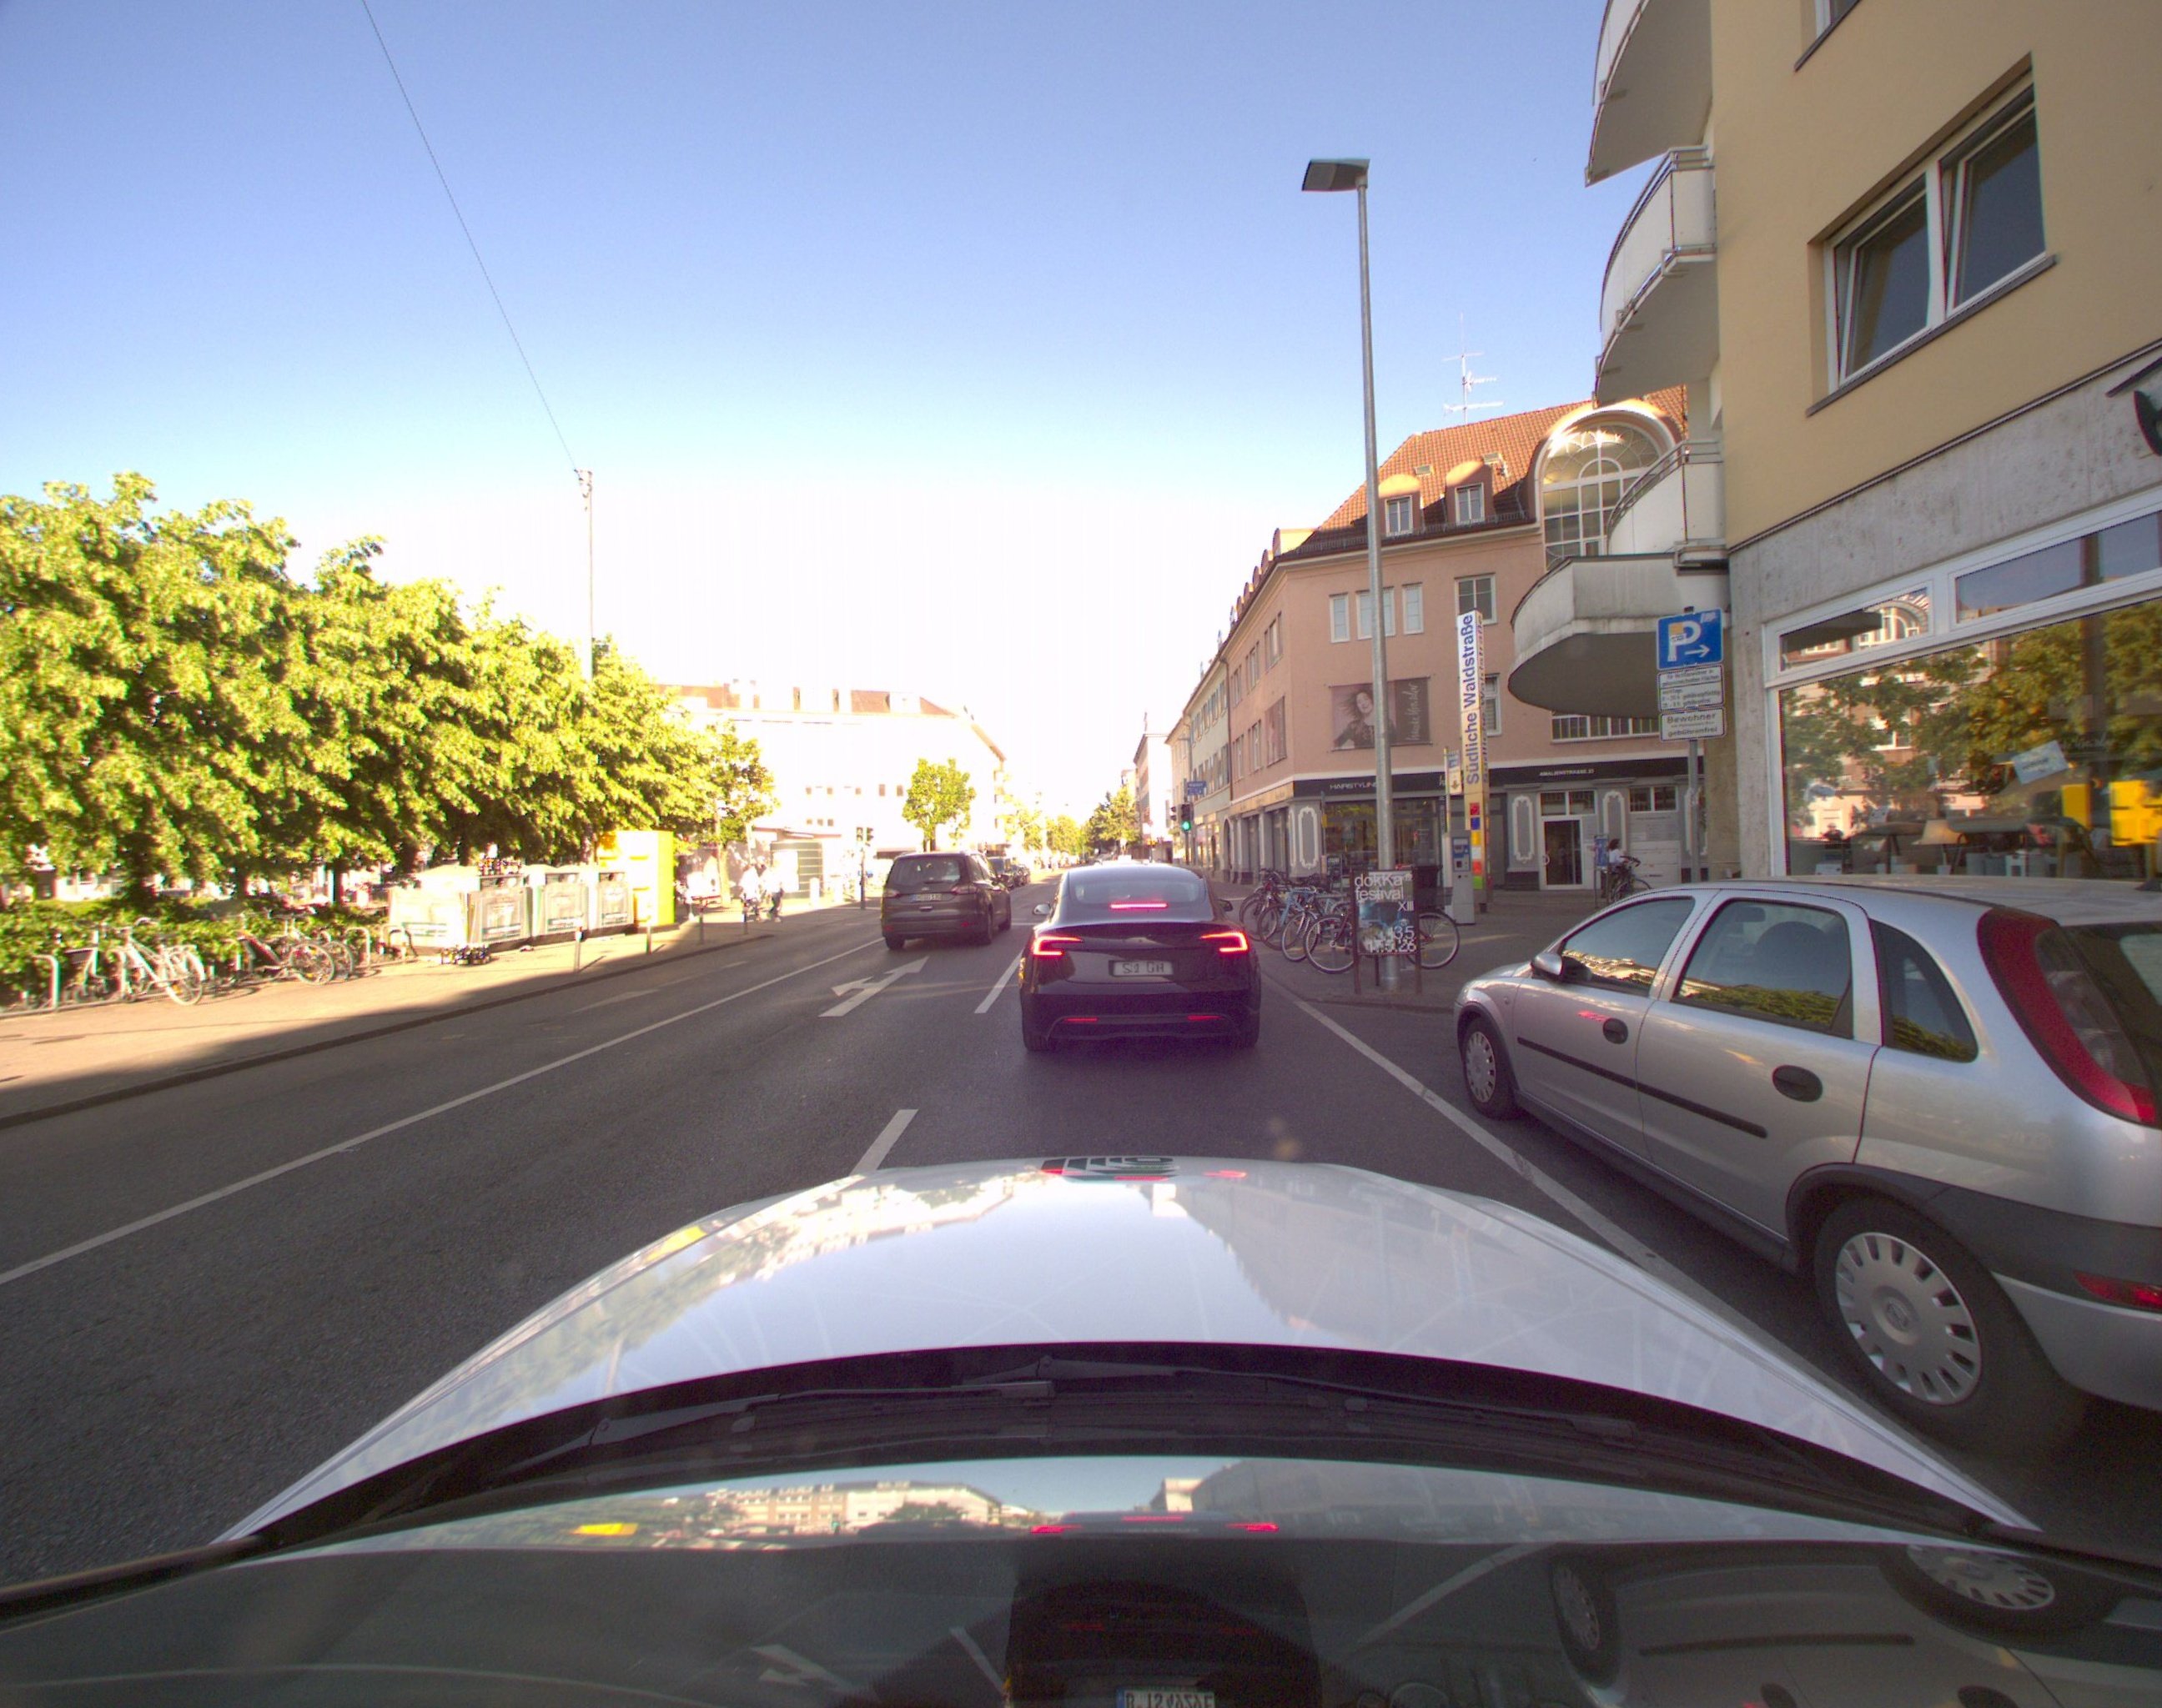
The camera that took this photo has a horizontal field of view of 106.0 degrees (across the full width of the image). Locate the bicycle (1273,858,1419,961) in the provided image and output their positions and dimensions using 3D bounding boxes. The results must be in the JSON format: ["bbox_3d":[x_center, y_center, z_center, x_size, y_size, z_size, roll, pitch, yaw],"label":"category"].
[{"bbox_3d":[3.537,0.730,11.010,1.713,1.268,0.792,-3,-1,7],"label":"bicycle"}]

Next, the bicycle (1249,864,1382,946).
[{"bbox_3d":[3.518,0.759,12.363,1.788,1.124,0.783,-3,-1,7],"label":"bicycle"}]

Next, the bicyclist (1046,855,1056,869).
[{"bbox_3d":[-3.506,0.975,95.742,1.123,1.628,0.965,-1,0,-1],"label":"bicyclist"}]

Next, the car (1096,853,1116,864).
[{"bbox_3d":[5.122,0.937,167.531,3.974,2.013,2.000,-1,0,0],"label":"car"}]

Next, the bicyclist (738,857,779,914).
[{"bbox_3d":[-10.673,1.018,26.956,0.941,1.838,0.793,-1,0,25],"label":"bicyclist"}]

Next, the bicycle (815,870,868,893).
[{"bbox_3d":[-12.585,1.455,42.878,2.497,1.156,0.843,-1,0,0],"label":"bicycle"}]

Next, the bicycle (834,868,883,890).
[{"bbox_3d":[-12.379,1.384,45.407,2.453,1.156,0.843,-1,0,0],"label":"bicycle"}]

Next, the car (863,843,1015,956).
[{"bbox_3d":[-2.519,0.749,15.726,1.987,1.772,4.728,-2,0,1],"label":"car"}]

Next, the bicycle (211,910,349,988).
[{"bbox_3d":[-11.323,1.334,11.527,1.561,1.023,0.430,-1,0,3],"label":"bicycle"}]

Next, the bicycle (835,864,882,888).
[{"bbox_3d":[-12.909,1.265,47.354,2.472,1.324,0.921,-1,0,-4],"label":"bicycle"}]

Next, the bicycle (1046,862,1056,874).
[{"bbox_3d":[-3.480,1.590,95.645,1.108,1.344,3.998,-1,0,-1],"label":"bicycle"}]

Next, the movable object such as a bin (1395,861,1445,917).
[{"bbox_3d":[6.739,0.680,16.200,0.749,1.092,0.628,0,-1,3],"label":"movable object such as a bin"}]

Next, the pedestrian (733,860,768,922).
[{"bbox_3d":[-9.357,1.035,23.066,0.541,1.728,0.679,-2,-1,34],"label":"pedestrian"}]

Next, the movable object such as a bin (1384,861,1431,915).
[{"bbox_3d":[6.748,0.685,16.838,0.730,1.092,0.628,0,-1,3],"label":"movable object such as a bin"}]

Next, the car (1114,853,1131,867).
[{"bbox_3d":[5.070,0.753,100.808,1.986,1.629,4.002,-1,0,2],"label":"car"}]

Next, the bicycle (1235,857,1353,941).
[{"bbox_3d":[3.503,0.735,13.543,1.738,1.267,0.782,-3,-1,4],"label":"bicycle"}]

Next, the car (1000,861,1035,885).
[{"bbox_3d":[-4.396,1.284,57.135,1.988,1.436,4.672,-5,0,-1],"label":"car"}]

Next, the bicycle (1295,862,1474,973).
[{"bbox_3d":[3.634,0.756,9.875,1.876,1.193,0.693,-3,0,7],"label":"bicycle"}]

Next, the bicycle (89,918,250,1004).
[{"bbox_3d":[-11.408,1.328,10.206,1.590,1.018,0.430,-1,0,3],"label":"bicycle"}]

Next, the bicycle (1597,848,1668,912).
[{"bbox_3d":[11.061,0.490,16.405,0.653,1.199,2.223,-2,0,21],"label":"bicycle"}]

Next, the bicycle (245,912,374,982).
[{"bbox_3d":[-11.386,1.369,12.033,1.517,0.958,0.431,-1,1,3],"label":"bicycle"}]

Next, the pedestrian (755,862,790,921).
[{"bbox_3d":[-8.974,1.086,23.669,0.676,1.662,0.624,-2,-1,28],"label":"pedestrian"}]

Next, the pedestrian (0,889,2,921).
[{"bbox_3d":[-68.076,3.181,50.442,1.269,2.014,1.284,-1,-1,28],"label":"pedestrian"}]

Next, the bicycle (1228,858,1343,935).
[{"bbox_3d":[3.618,0.746,14.571,1.851,1.258,0.834,-3,-1,7],"label":"bicycle"}]

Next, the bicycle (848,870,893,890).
[{"bbox_3d":[-12.953,1.593,50.113,2.528,1.156,0.841,-1,0,-4],"label":"bicycle"}]

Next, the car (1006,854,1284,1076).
[{"bbox_3d":[0.495,0.763,7.501,1.841,1.455,4.001,-1,-1,2],"label":"car"}]

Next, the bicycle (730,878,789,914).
[{"bbox_3d":[-10.649,1.375,26.943,2.042,1.139,0.541,0,0,25],"label":"bicycle"}]

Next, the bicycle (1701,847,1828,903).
[{"bbox_3d":[15.037,0.461,17.981,1.951,1.149,0.795,-2,-1,21],"label":"bicycle"}]

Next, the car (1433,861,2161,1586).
[{"bbox_3d":[2.981,0.732,3.380,1.607,1.382,3.645,0,0,2],"label":"car"}]

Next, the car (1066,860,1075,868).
[{"bbox_3d":[-2.484,2.259,187.226,1.988,1.637,3.998,-1,0,-1],"label":"car"}]

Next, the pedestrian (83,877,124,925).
[{"bbox_3d":[-41.948,2.006,34.944,1.169,2.013,0.937,-1,0,31],"label":"pedestrian"}]

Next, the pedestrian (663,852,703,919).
[{"bbox_3d":[-11.876,0.934,24.315,0.823,1.955,0.712,0,0,13],"label":"pedestrian"}]

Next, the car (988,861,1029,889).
[{"bbox_3d":[-4.366,1.256,49.538,1.988,1.410,4.672,-5,0,-1],"label":"car"}]

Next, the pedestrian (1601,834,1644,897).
[{"bbox_3d":[13.673,0.296,20.579,0.740,1.552,0.703,-1,0,22],"label":"pedestrian"}]

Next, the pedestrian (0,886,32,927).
[{"bbox_3d":[-54.954,2.703,41.816,1.048,2.013,0.814,-1,0,0],"label":"pedestrian"}]

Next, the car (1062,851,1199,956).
[{"bbox_3d":[0.747,0.731,14.072,1.987,1.512,4.175,-1,0,0],"label":"car"}]

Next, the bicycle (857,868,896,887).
[{"bbox_3d":[-13.168,1.538,52.548,2.318,1.156,0.841,-1,0,-4],"label":"bicycle"}]

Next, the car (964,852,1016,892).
[{"bbox_3d":[-4.655,0.880,42.321,1.827,1.845,4.677,-5,0,2],"label":"car"}]
